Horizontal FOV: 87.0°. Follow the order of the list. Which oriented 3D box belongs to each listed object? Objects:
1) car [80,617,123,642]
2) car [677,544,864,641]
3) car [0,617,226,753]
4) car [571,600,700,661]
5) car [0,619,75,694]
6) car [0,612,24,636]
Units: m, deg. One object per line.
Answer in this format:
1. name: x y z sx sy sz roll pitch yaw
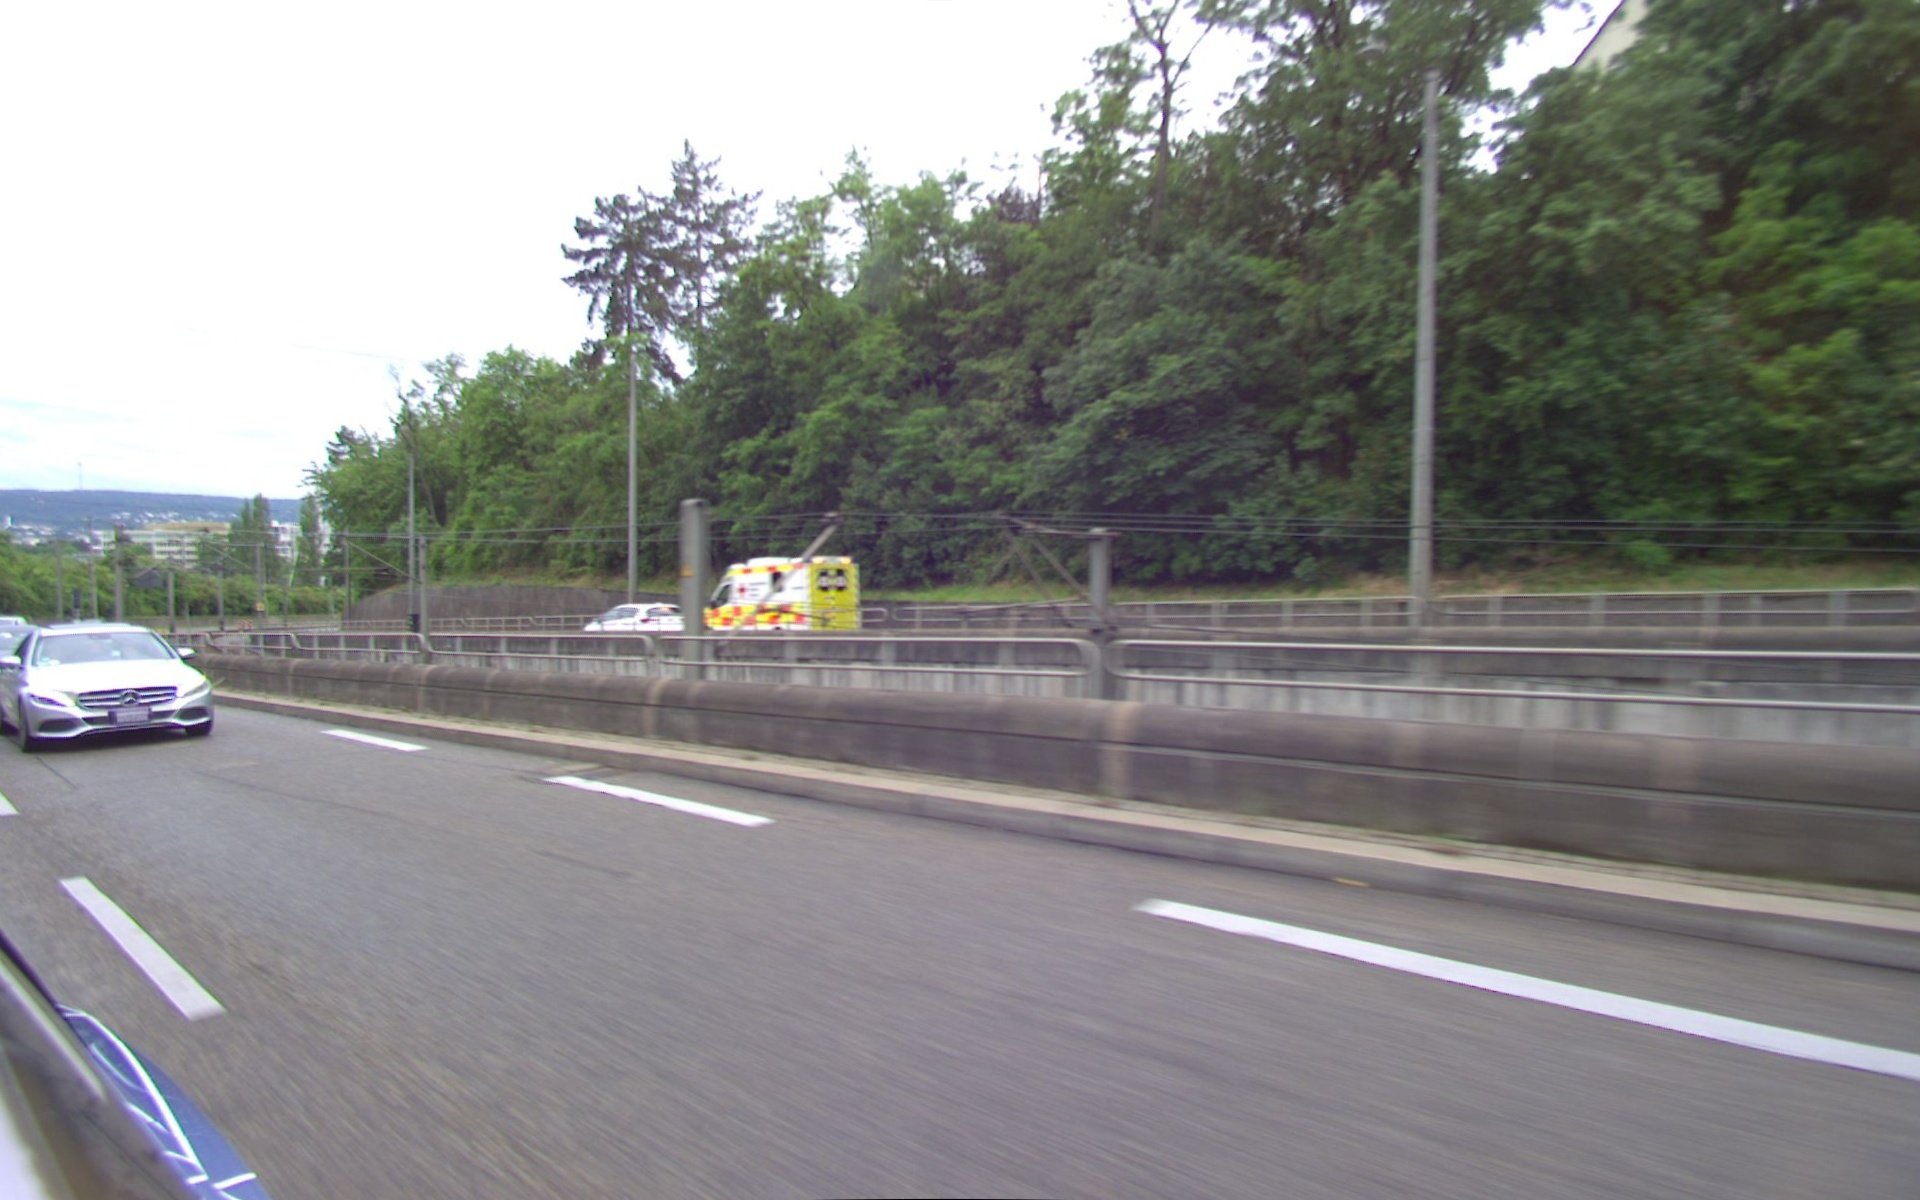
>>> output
1. car: -71.116 2.415 83.902 1.966 2.029 4.508 0 -1 -30
2. car: -5.977 -0.178 31.375 6.338 2.755 2.161 -1 -1 39
3. car: -11.204 0.972 13.075 4.312 1.413 1.838 -2 0 41
4. car: -9.847 0.886 30.590 4.106 1.717 1.800 -1 -1 39
5. car: -20.388 1.176 21.741 3.888 1.482 1.706 -2 -1 43
6. car: -68.690 1.721 72.326 1.780 1.521 4.012 -3 3 -31
